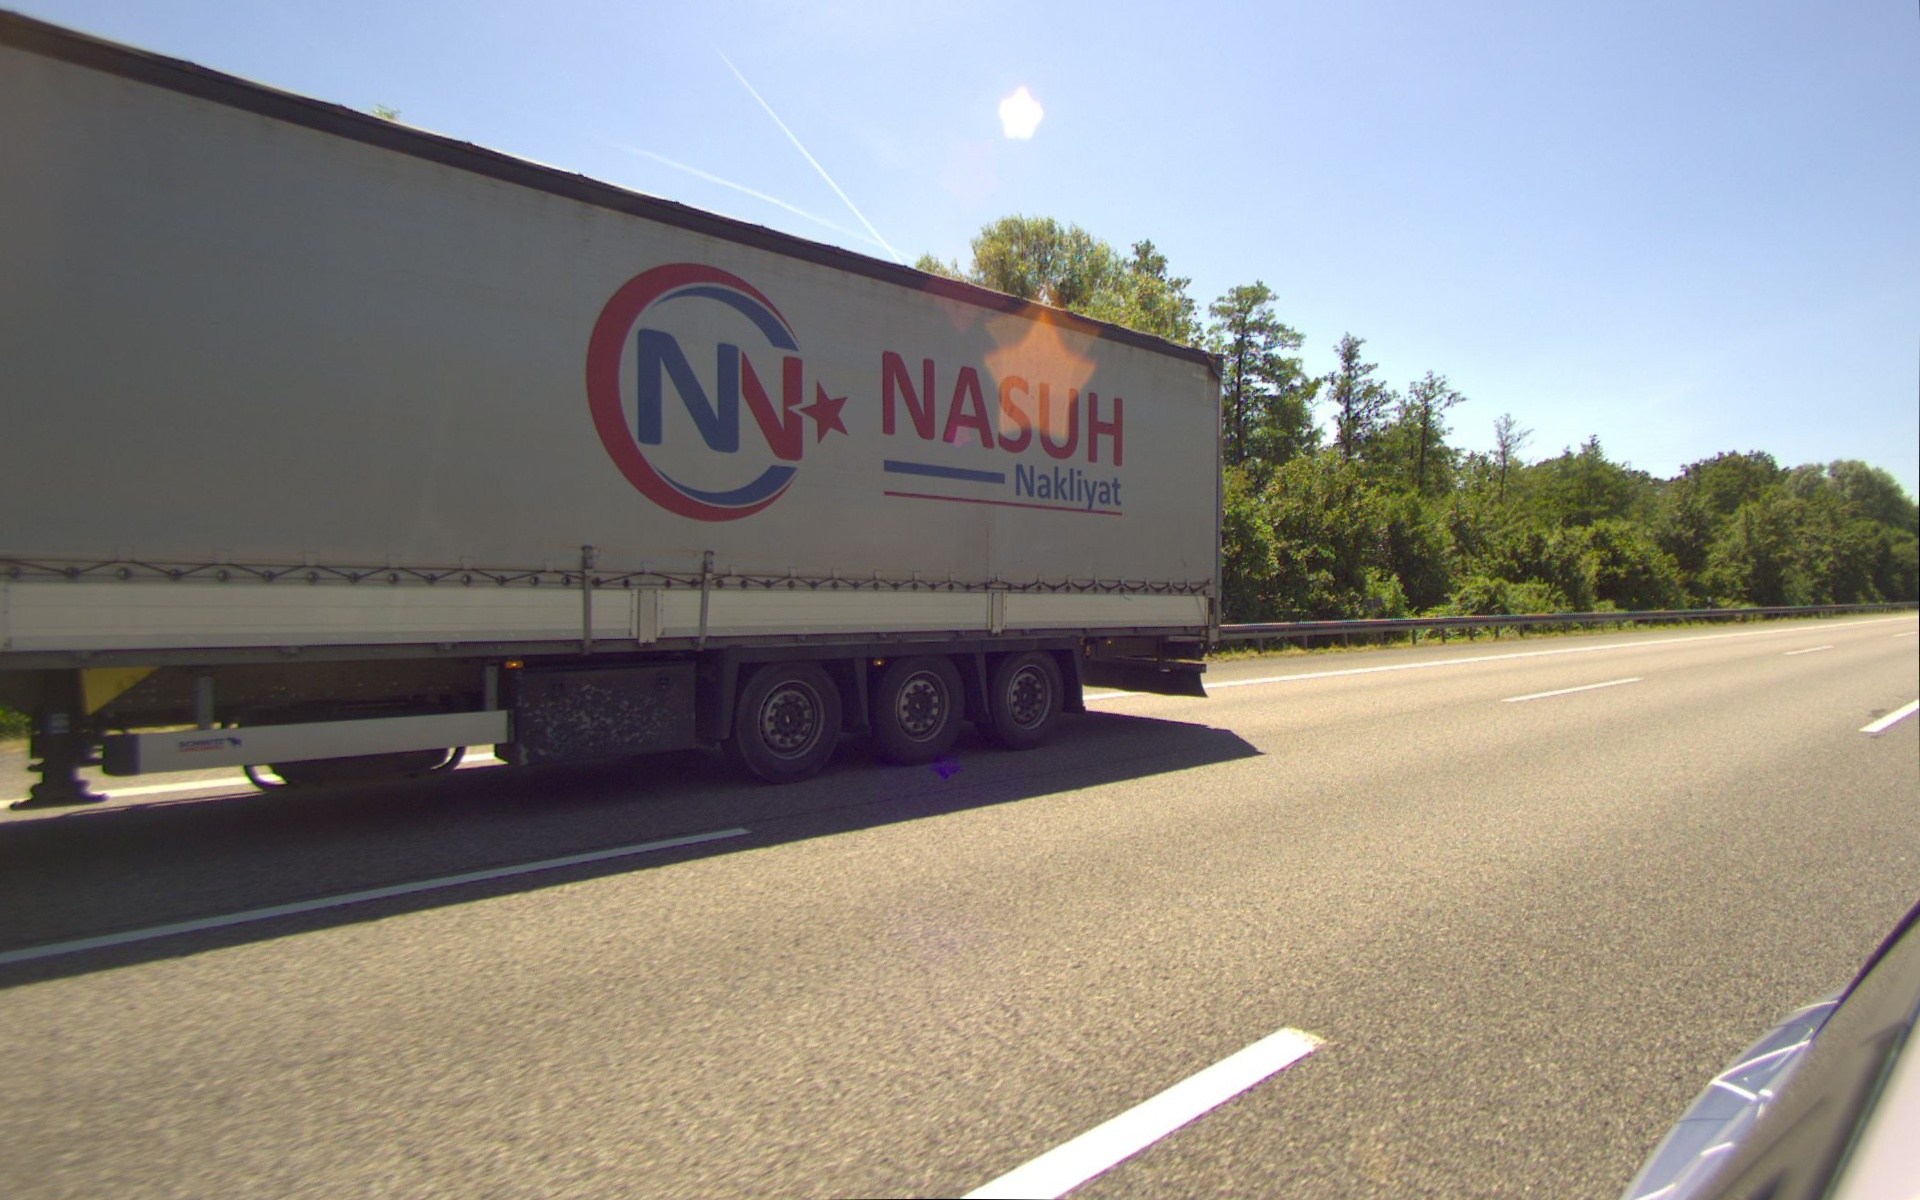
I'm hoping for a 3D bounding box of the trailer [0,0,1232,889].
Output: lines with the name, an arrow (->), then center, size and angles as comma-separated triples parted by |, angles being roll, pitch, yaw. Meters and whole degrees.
trailer -> -3.101, -0.870, 7.563 | 13.815, 4.314, 2.629 | -1, 1, -41
